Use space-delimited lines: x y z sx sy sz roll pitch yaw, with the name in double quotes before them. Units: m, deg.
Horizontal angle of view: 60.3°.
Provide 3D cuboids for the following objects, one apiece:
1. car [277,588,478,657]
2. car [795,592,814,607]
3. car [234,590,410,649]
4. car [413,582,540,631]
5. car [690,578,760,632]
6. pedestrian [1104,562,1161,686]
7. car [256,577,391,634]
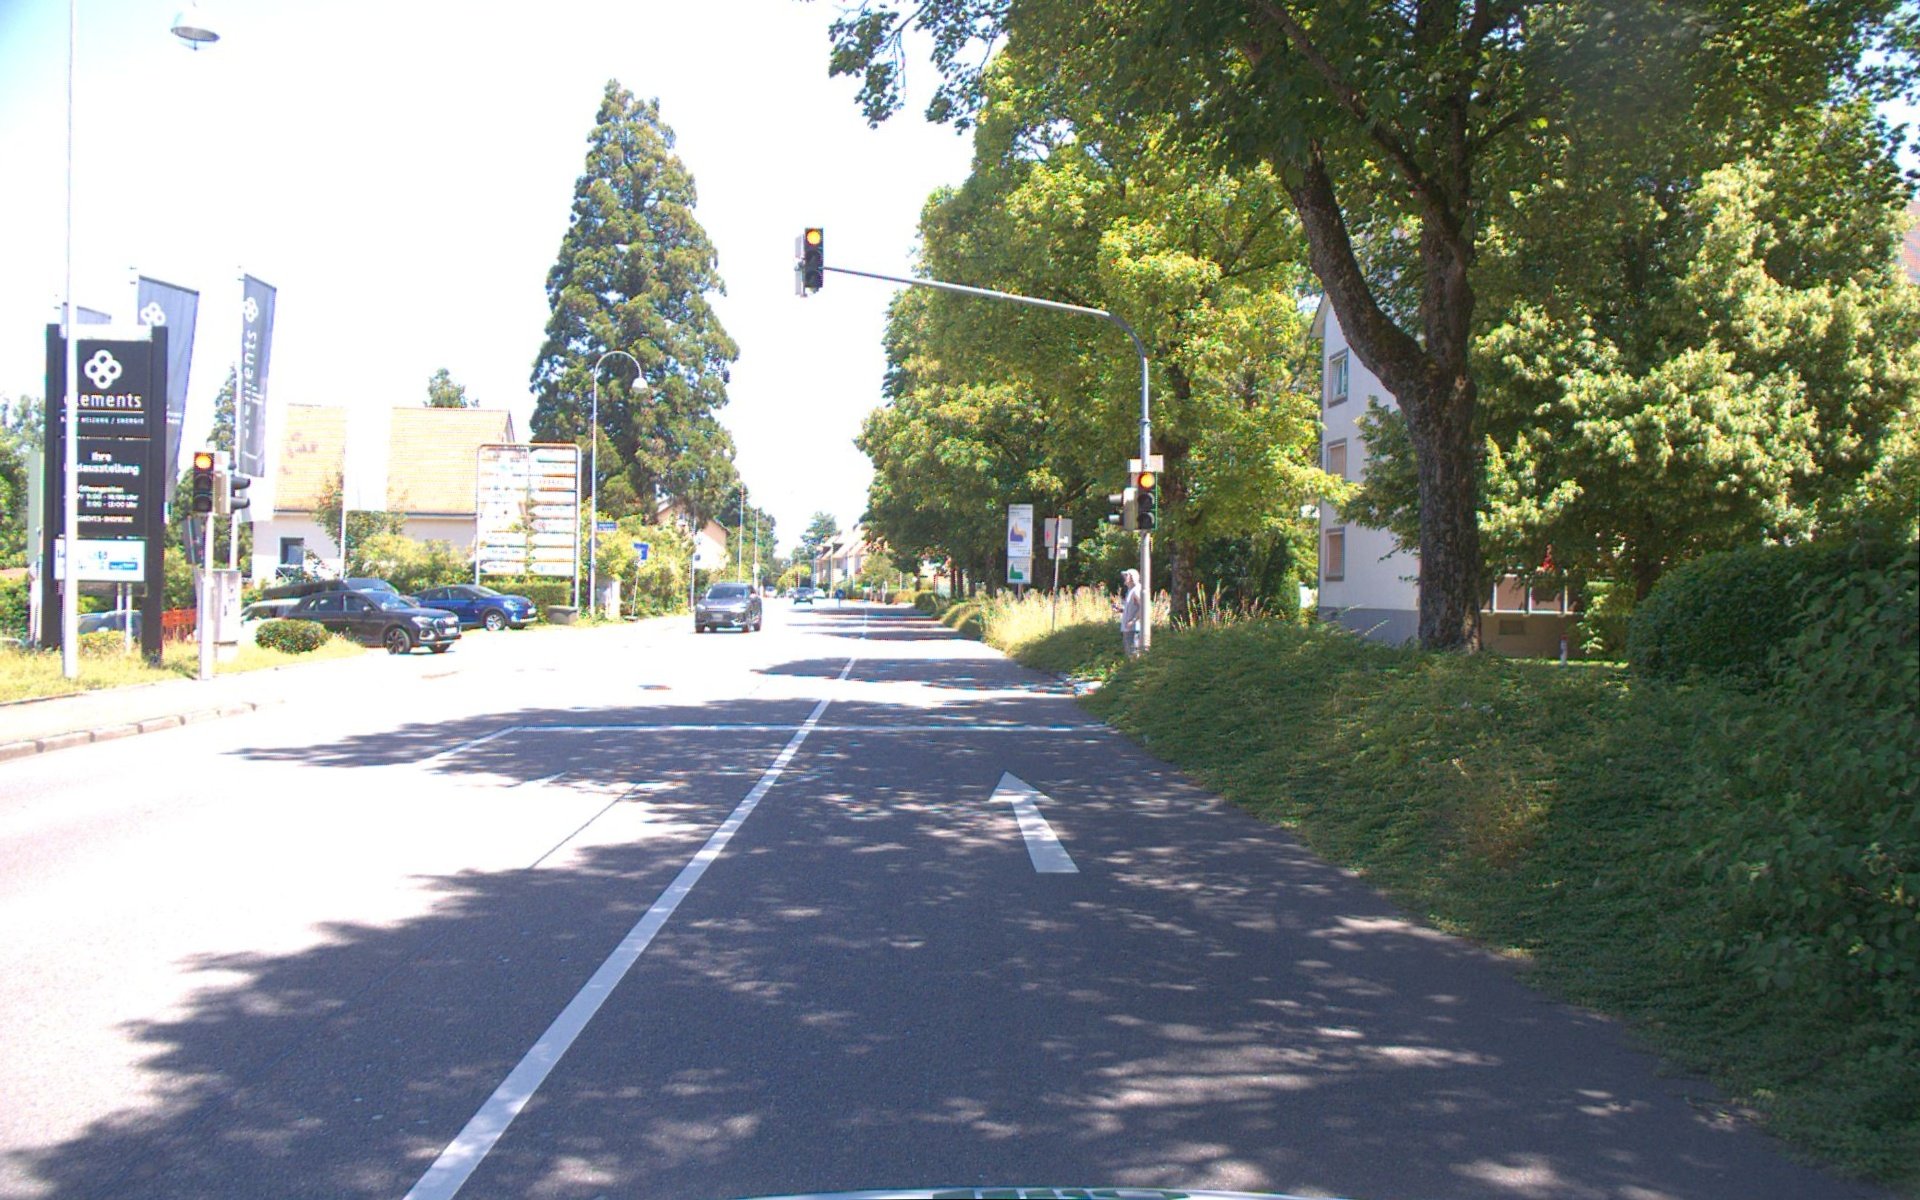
"car" -13.954 0.538 39.680 4.202 1.553 1.930 -1 -1 16
"car" -13.986 -0.038 149.084 1.402 1.345 3.354 1 0 -1
"car" -17.038 0.497 44.177 4.243 1.513 1.983 0 0 -26
"car" -15.001 0.204 51.399 3.417 1.452 1.602 1 0 5
"car" -7.971 0.147 56.496 1.841 1.747 4.309 1 0 -1
"pedestrian" 2.529 0.351 24.229 0.556 1.781 0.607 1 -1 -38
"car" -18.820 0.143 49.022 3.425 1.645 1.598 0 0 -8
